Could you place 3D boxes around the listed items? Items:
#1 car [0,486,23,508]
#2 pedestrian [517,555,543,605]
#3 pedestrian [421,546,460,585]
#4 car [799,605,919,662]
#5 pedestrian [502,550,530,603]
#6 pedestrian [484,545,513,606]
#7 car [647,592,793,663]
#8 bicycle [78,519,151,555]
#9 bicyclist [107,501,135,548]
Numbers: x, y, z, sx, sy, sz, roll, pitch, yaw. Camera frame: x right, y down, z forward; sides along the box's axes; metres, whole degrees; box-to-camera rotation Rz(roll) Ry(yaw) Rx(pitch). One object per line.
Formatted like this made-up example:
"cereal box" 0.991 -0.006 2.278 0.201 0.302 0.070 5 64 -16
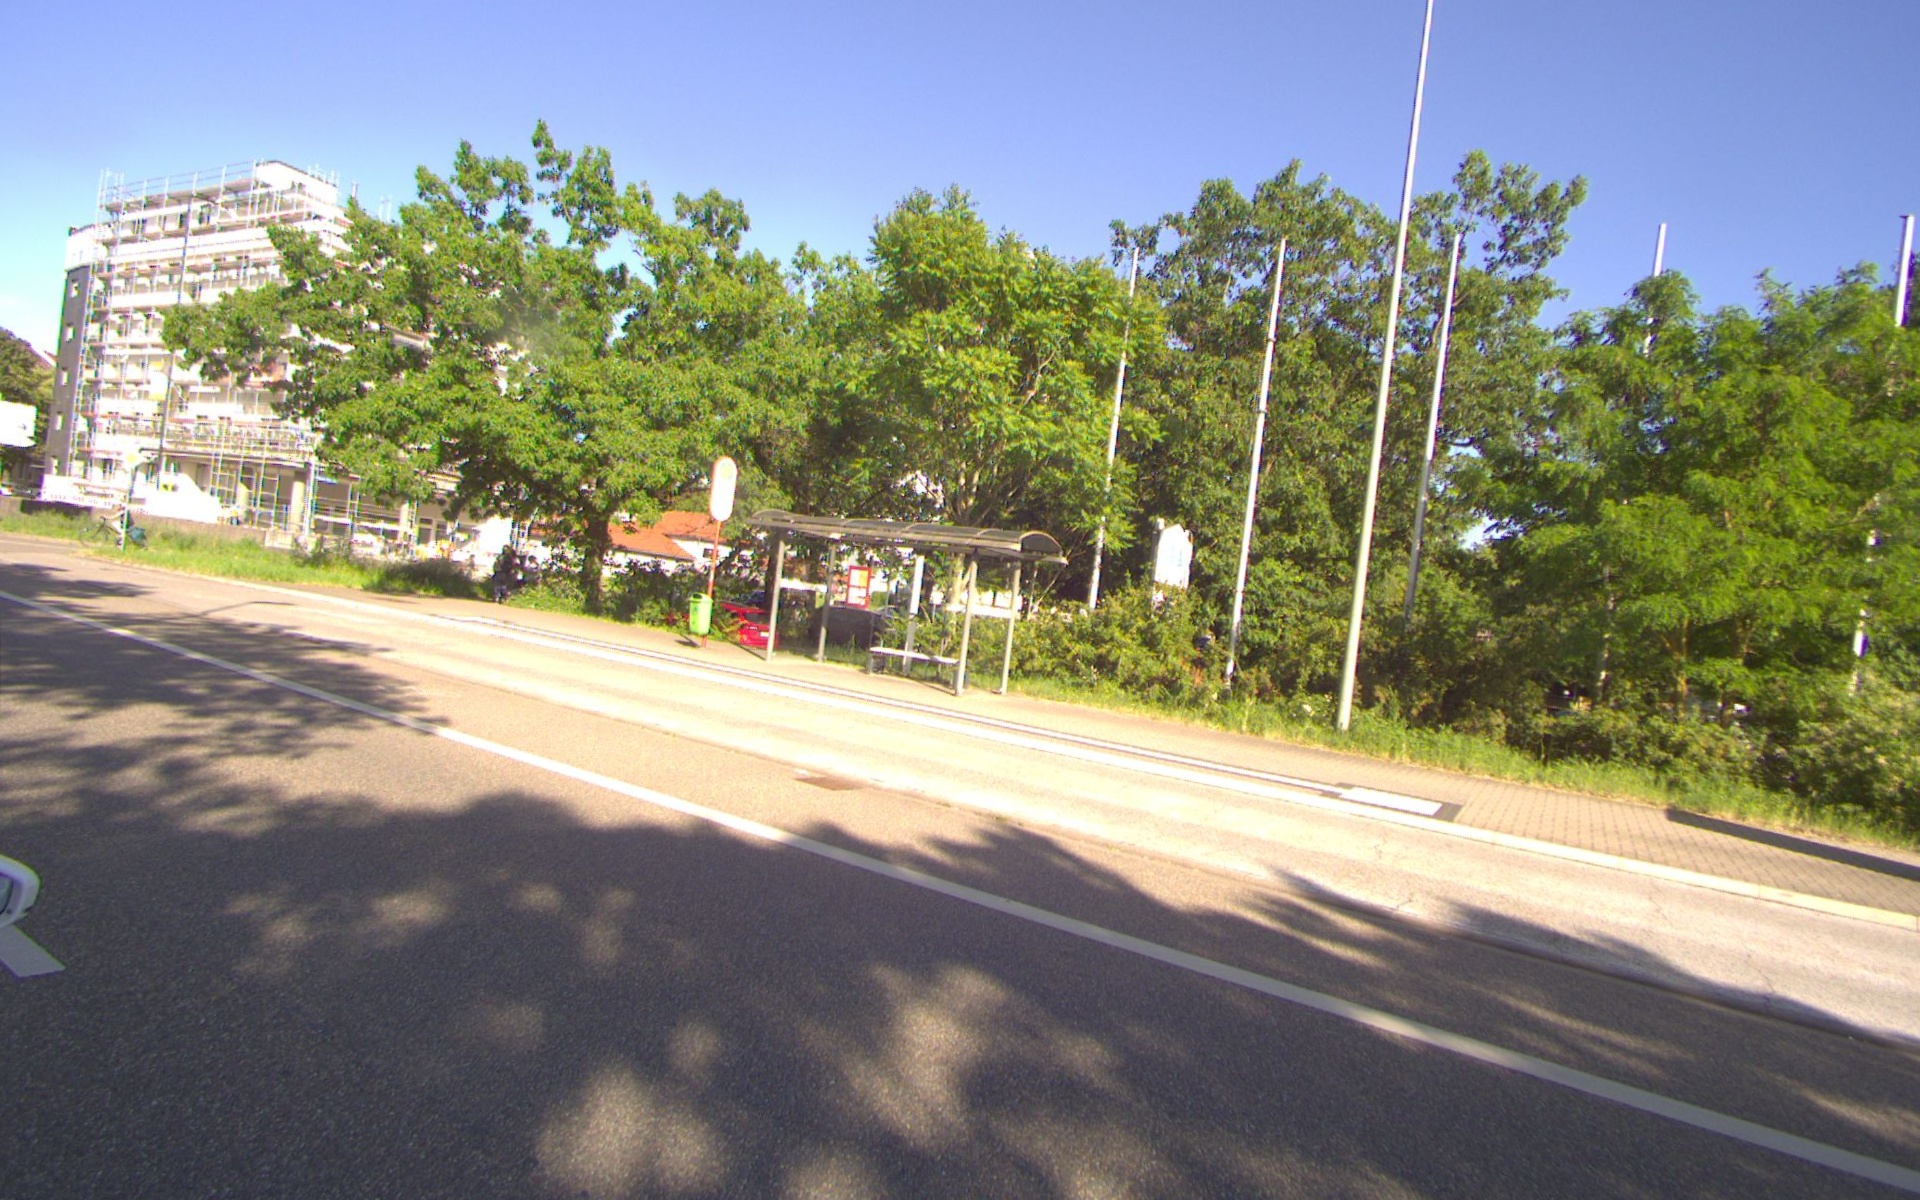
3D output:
"car" -66.606 -7.213 70.162 1.521 1.330 3.250 7 0 -40
"pedestrian" -13.398 -0.630 31.334 0.517 1.465 0.587 7 1 -32
"pedestrian" -21.533 -1.416 41.688 0.948 1.465 0.895 7 0 17
"car" -3.584 1.183 35.978 3.674 1.504 1.914 7 0 13
"pedestrian" -12.927 -0.686 29.261 0.517 1.465 0.587 7 1 -32
"pedestrian" -13.056 -0.702 28.441 0.517 1.632 0.587 7 1 -32
"car" -6.872 0.796 28.745 3.680 1.504 1.755 7 0 28
"bicycle" -28.531 -2.113 33.956 1.784 0.956 0.553 8 0 -44
"bicyclist" -28.413 -2.548 34.060 0.582 1.511 0.543 7 1 -43
